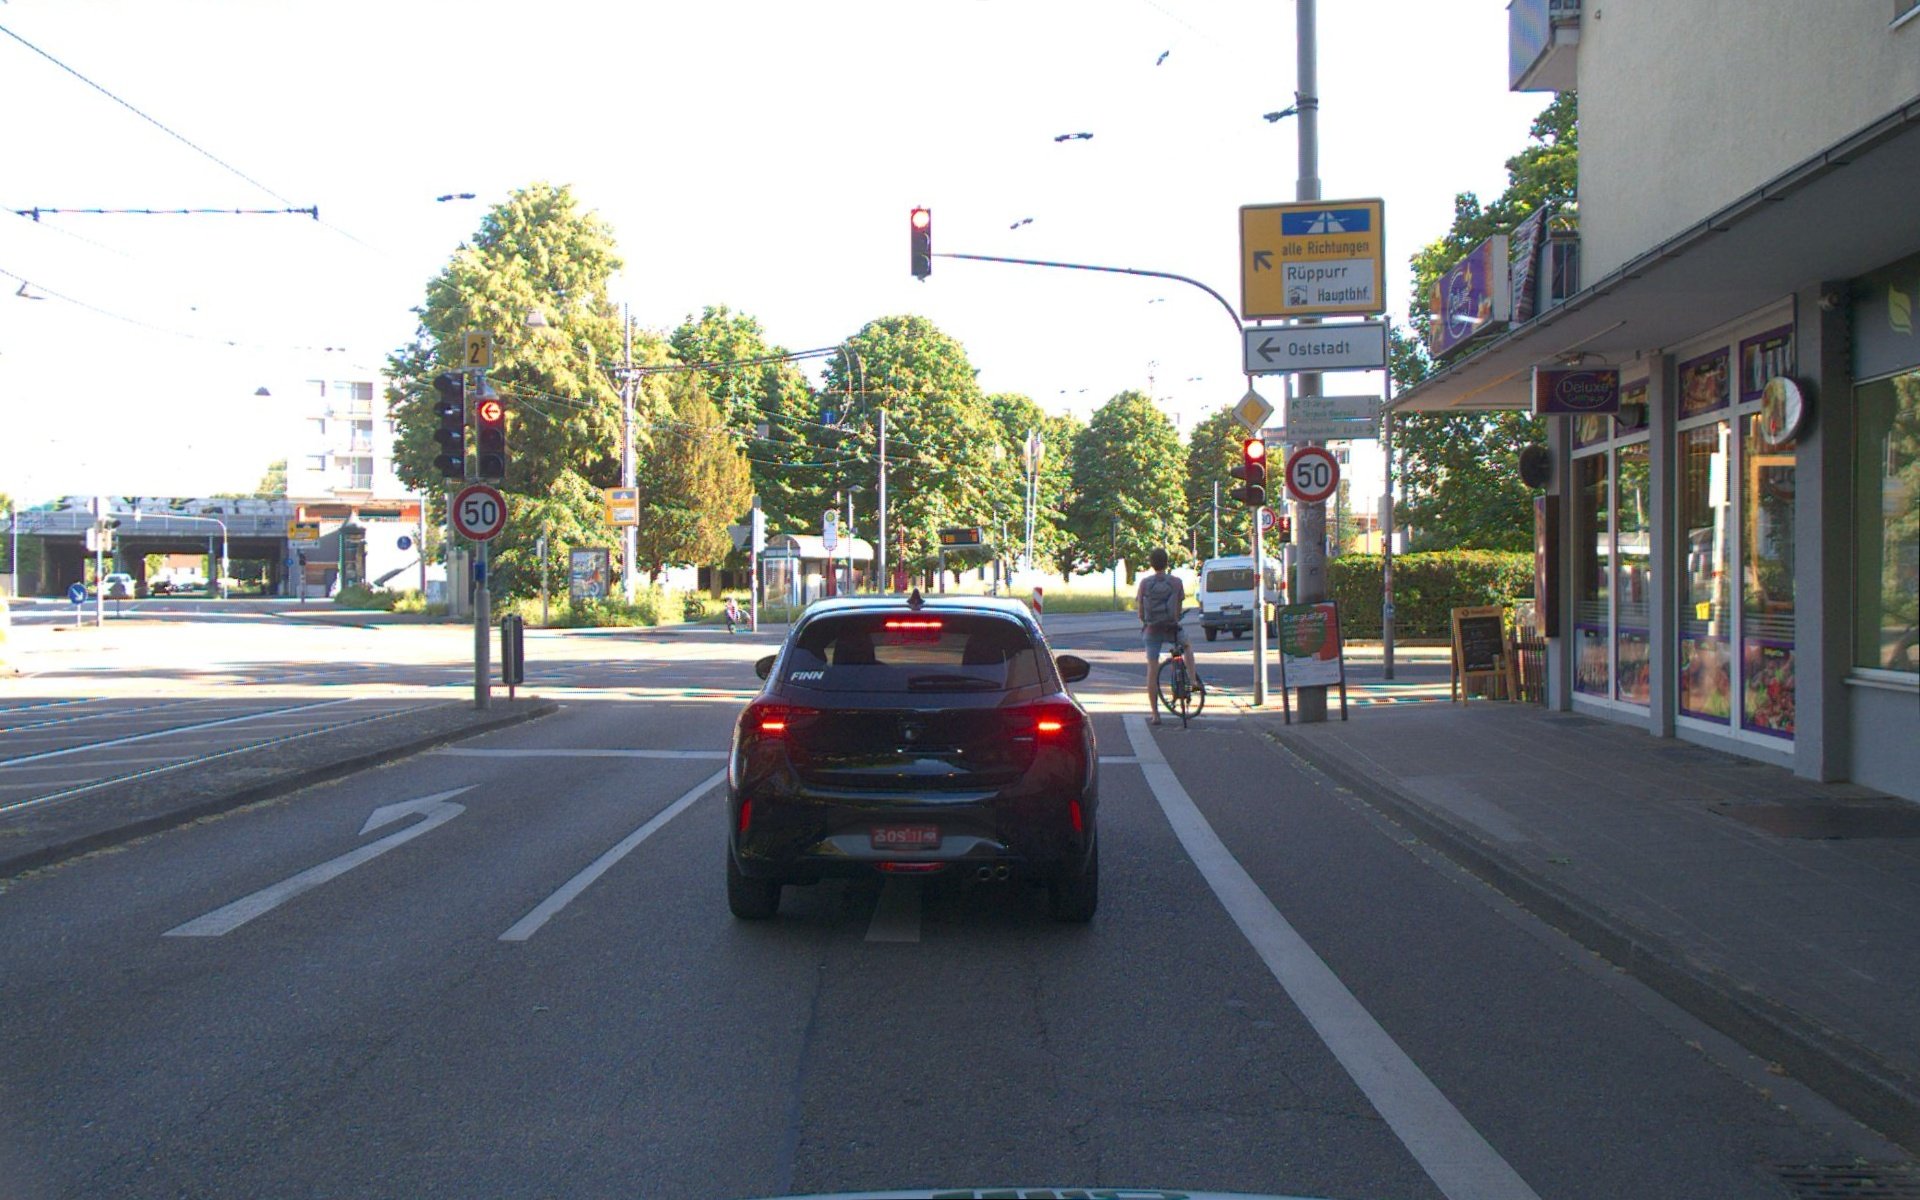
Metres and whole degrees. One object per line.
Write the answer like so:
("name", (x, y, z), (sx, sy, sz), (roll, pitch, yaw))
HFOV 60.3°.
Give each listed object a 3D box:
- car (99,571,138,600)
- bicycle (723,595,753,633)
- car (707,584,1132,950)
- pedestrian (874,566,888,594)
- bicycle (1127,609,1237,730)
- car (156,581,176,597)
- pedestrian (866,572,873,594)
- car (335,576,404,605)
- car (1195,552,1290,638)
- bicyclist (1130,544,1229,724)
("car", (-55.472, -0.938, 109.120), (2.186, 1.855, 4.112), (-1, 1, -26))
("bicycle", (-6.215, 0.381, 46.384), (0.593, 1.049, 1.982), (0, 1, -1))
("car", (-0.182, 0.656, 8.728), (1.692, 1.454, 4.186), (1, 0, -1))
("pedestrian", (-5.645, -1.425, 118.779), (0.899, 2.015, 0.991), (2, 0, -7))
("bicycle", (2.364, 0.711, 17.842), (0.842, 1.173, 2.171), (-1, 1, -1))
("car", (-84.396, -1.139, 175.777), (1.969, 1.630, 4.211), (-1, 1, -26))
("pedestrian", (-6.035, -1.113, 110.535), (0.404, 1.437, 0.436), (2, 0, -1))
("car", (-38.719, -0.641, 108.416), (4.123, 1.836, 1.722), (-1, 1, -26))
("car", (8.015, -0.156, 46.589), (2.020, 2.288, 4.890), (0, 1, 17))
("bicyclist", (2.357, 0.351, 17.851), (0.922, 1.883, 0.864), (-1, 0, -1))
